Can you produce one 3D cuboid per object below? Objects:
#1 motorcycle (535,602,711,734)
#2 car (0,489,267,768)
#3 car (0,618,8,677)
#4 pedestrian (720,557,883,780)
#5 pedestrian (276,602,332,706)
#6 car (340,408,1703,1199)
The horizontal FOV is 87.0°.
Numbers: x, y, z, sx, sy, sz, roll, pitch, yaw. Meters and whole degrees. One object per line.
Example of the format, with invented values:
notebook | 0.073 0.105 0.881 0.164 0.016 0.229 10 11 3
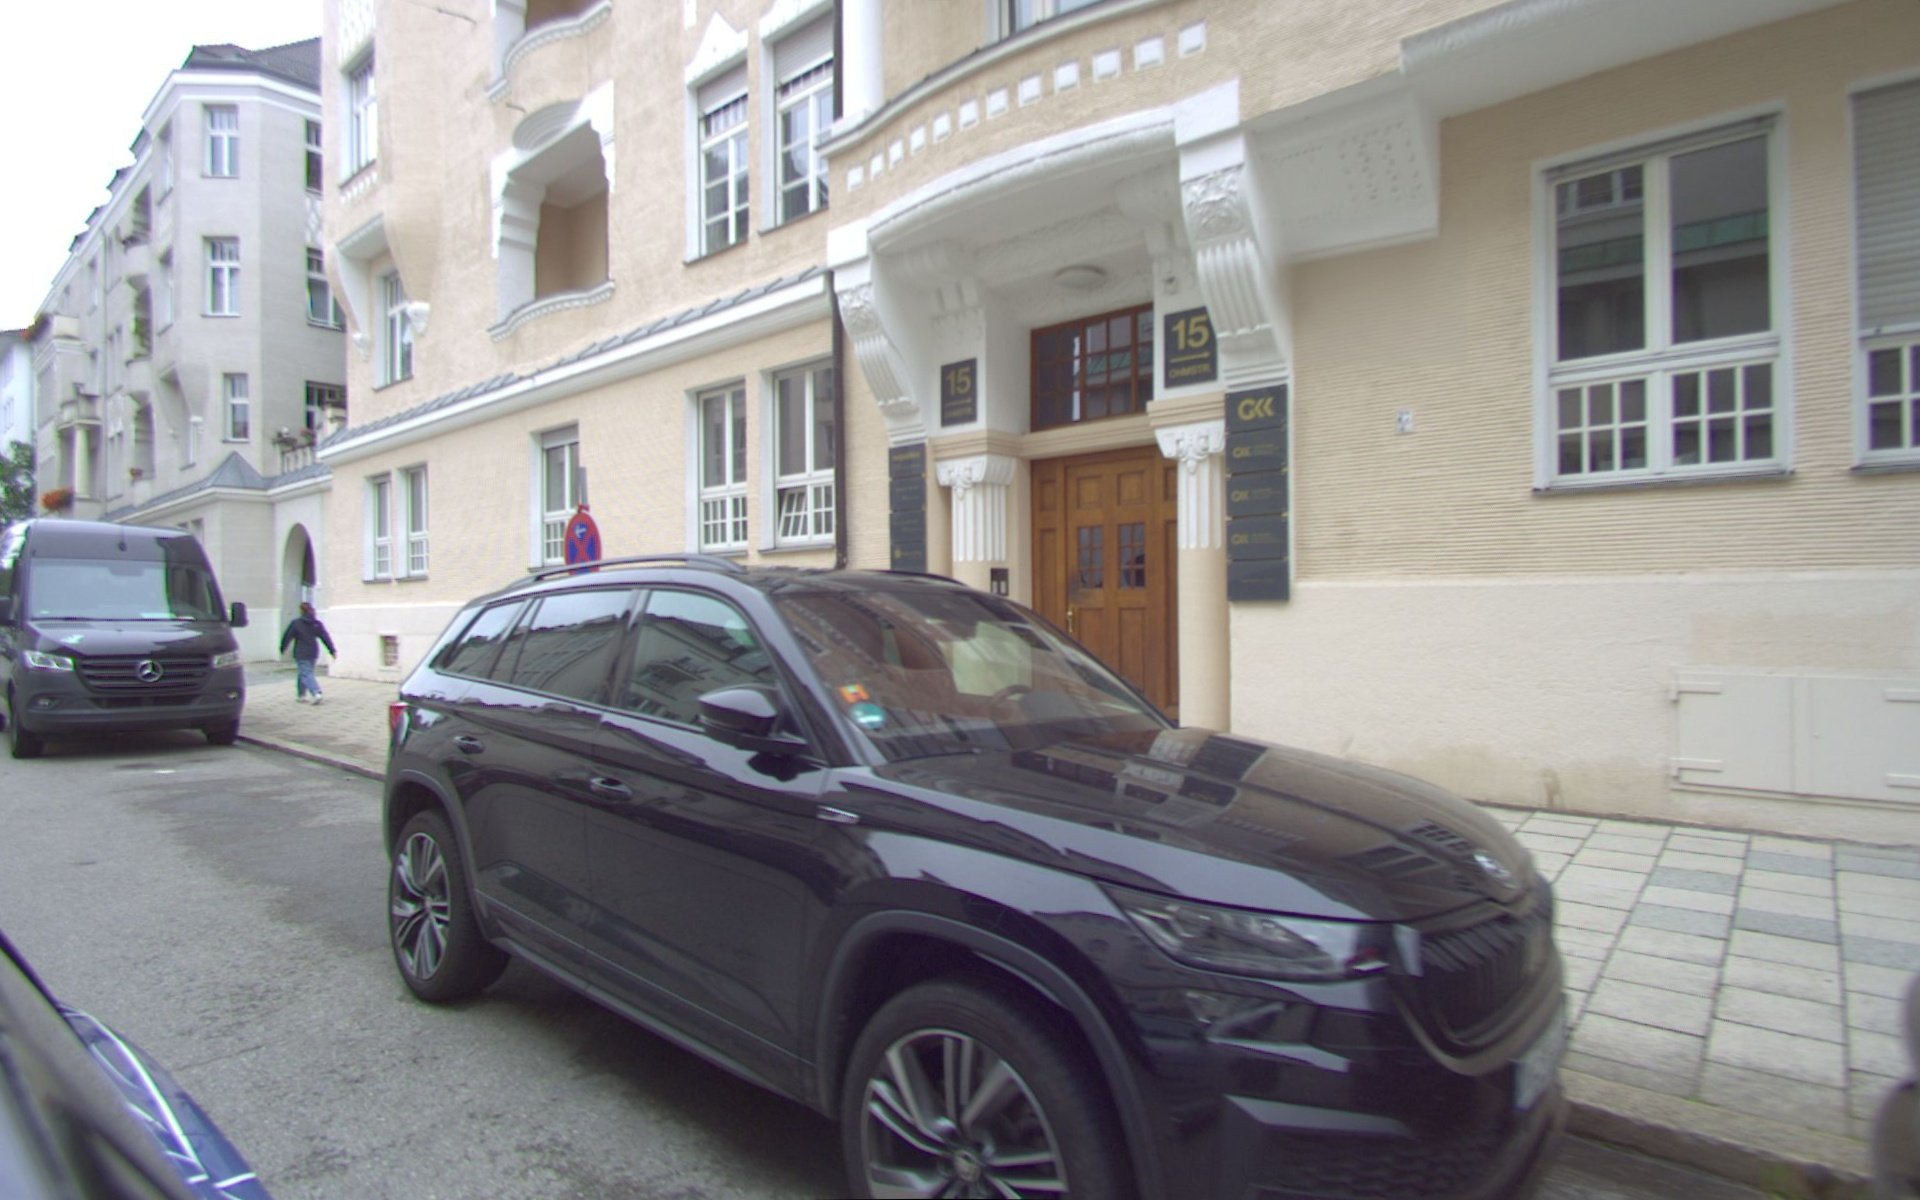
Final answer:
motorcycle | -4.047 0.743 12.021 2.513 1.406 0.818 -1 0 41
car | -10.427 0.319 12.295 5.678 2.641 2.076 -1 -2 43
car | -24.942 1.178 25.067 3.704 1.409 1.661 -1 0 41
pedestrian | -1.335 0.532 8.564 0.939 1.742 0.982 -1 0 41
pedestrian | -10.147 0.806 15.664 0.703 1.534 1.018 -1 0 -33
car | -0.308 0.599 3.462 4.458 1.661 1.853 -1 0 41
